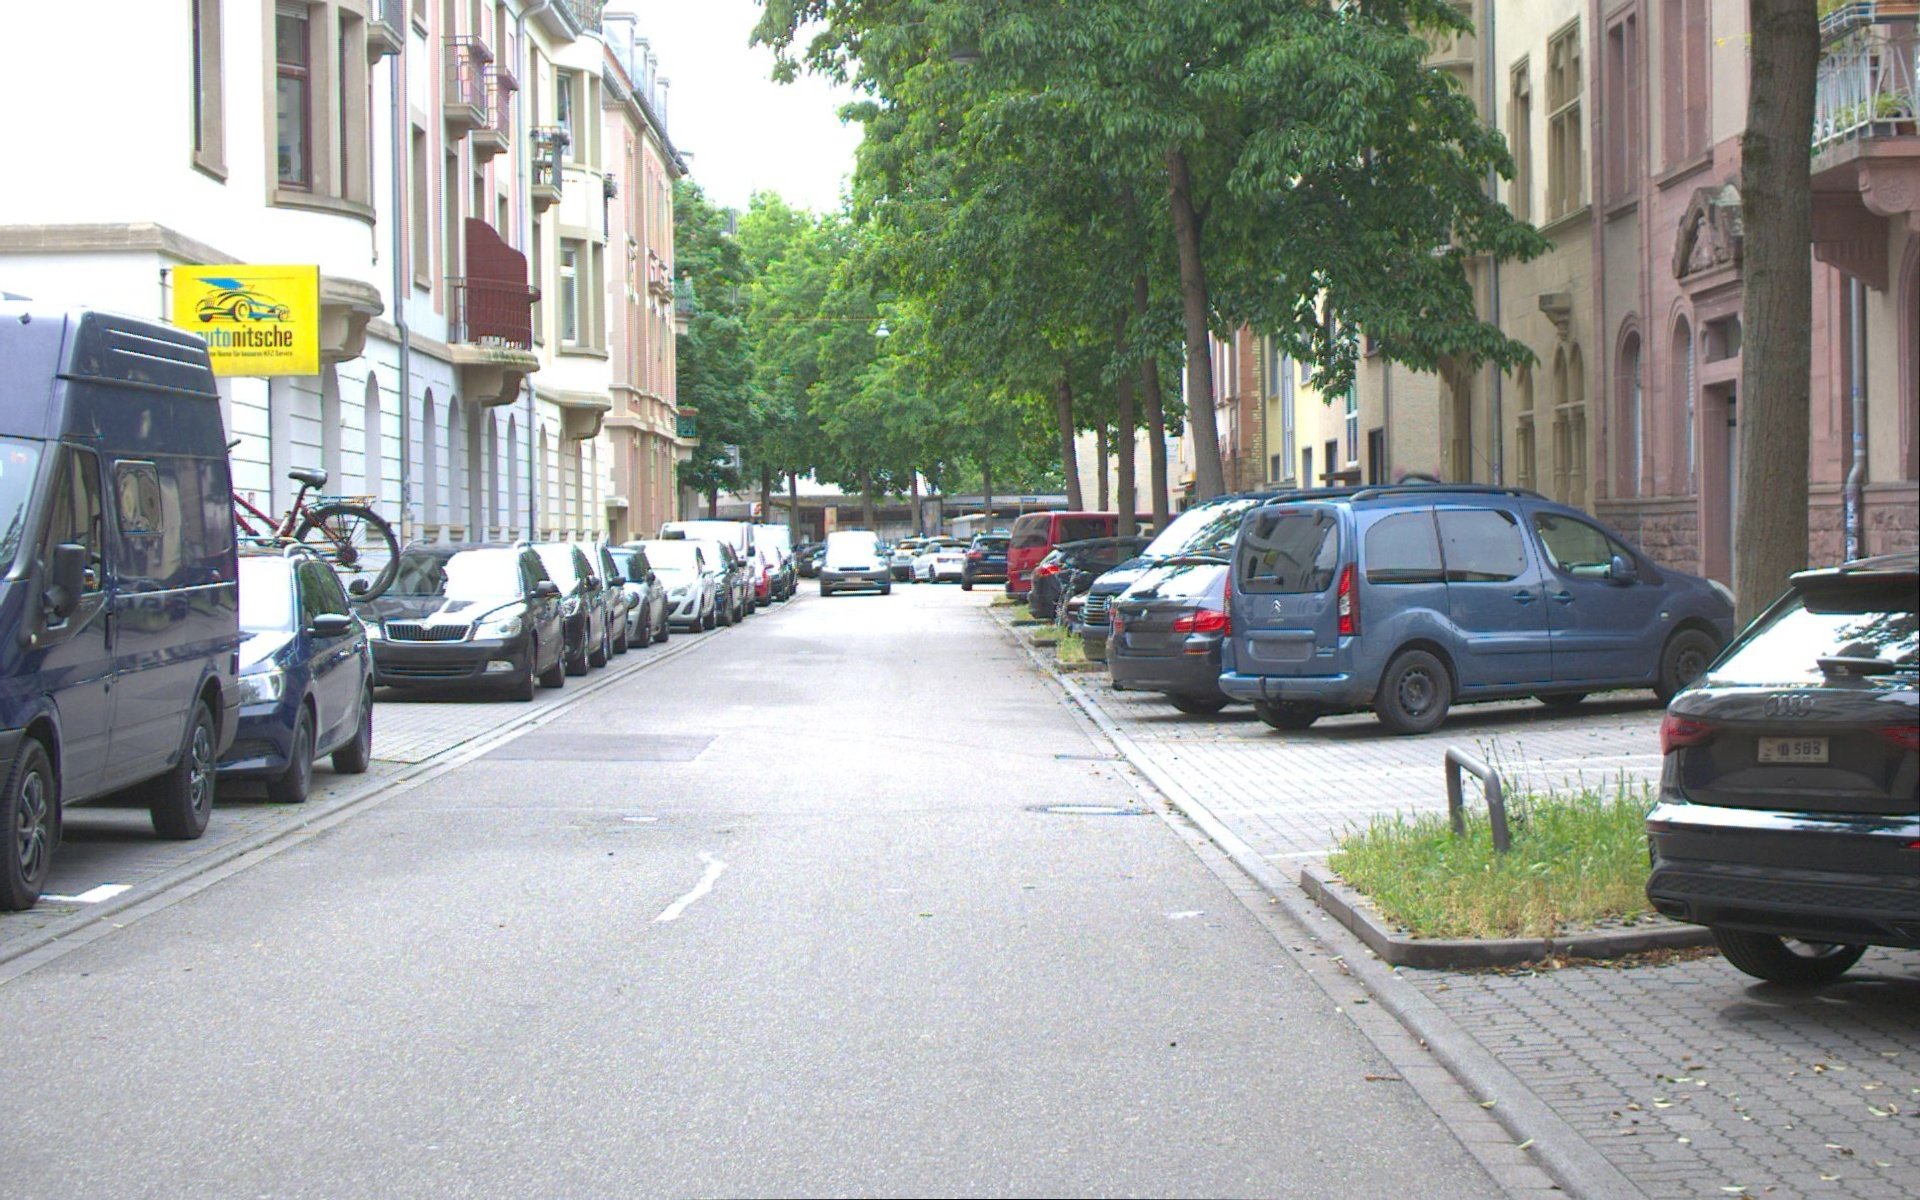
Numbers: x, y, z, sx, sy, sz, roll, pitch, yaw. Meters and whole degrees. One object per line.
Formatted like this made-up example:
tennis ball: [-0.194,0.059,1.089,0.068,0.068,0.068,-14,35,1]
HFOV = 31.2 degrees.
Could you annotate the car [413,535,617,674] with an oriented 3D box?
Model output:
car: [-4.963,0.012,38.746,1.829,1.422,3.801,2,1,-1]

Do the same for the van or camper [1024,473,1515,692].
van or camper: [3.224,-0.214,35.559,4.775,2.130,2.056,-1,1,-31]

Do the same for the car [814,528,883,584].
car: [-3.395,-1.365,104.868,1.908,1.672,4.000,0,1,1]

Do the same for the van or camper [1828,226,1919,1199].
van or camper: [3.970,0.300,5.441,4.729,1.987,2.000,-3,-1,-25]

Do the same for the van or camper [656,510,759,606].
van or camper: [-5.276,-0.894,72.387,1.881,1.961,4.408,0,1,0]

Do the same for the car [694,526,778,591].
car: [-5.514,-1.042,85.001,1.786,1.450,3.888,-4,1,-1]

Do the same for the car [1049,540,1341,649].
car: [3.150,-0.085,46.470,3.709,1.403,1.576,-1,1,-6]

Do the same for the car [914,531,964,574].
car: [-0.829,-1.857,133.094,1.870,1.622,4.000,0,1,-1]

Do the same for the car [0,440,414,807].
car: [-4.749,0.084,21.272,1.993,2.007,4.891,0,1,0]

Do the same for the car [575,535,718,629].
car: [-5.052,-0.315,55.893,1.993,1.470,4.000,0,1,0]

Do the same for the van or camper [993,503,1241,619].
van or camper: [2.901,-0.740,63.420,4.146,2.078,1.953,-1,1,-28]

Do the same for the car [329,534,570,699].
car: [-4.814,0.111,32.891,1.789,1.475,4.023,0,1,-1]

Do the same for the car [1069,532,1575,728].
car: [3.146,0.217,29.717,4.010,1.554,1.885,-1,1,-31]

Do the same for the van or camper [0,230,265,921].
van or camper: [-4.688,-0.157,15.475,2.008,2.642,5.316,2,1,-1]

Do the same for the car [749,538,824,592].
car: [-4.467,-0.923,89.014,1.786,1.369,3.888,0,1,-1]

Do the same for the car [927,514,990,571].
car: [-0.079,-1.898,114.712,1.993,1.788,4.000,1,0,-1]

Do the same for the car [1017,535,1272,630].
car: [2.866,-0.283,53.777,3.760,1.460,1.729,0,1,-6]

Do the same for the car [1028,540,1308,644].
car: [2.948,-0.129,49.162,3.760,1.460,1.729,0,1,-6]

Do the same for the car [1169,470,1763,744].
car: [3.973,0.026,26.887,4.172,1.863,2.000,-3,1,-30]

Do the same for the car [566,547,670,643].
car: [-4.793,-0.093,48.401,1.209,1.305,3.261,0,1,-1]

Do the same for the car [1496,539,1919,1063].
car: [4.074,0.462,11.181,4.301,1.388,1.923,-4,2,-30]

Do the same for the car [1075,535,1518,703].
car: [3.224,0.147,32.850,3.861,1.494,1.802,-1,1,-29]

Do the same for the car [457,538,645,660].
car: [-5.145,-0.046,43.700,1.947,1.398,4.000,2,1,-1]

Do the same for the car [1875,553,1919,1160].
car: [4.098,0.529,8.393,3.414,1.436,1.671,-3,1,-32]

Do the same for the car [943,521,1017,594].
car: [0.560,-1.241,100.154,1.993,2.007,4.000,2,1,-1]

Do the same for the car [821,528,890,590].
car: [-2.857,-1.115,94.494,1.821,1.639,3.754,1,0,-1]
